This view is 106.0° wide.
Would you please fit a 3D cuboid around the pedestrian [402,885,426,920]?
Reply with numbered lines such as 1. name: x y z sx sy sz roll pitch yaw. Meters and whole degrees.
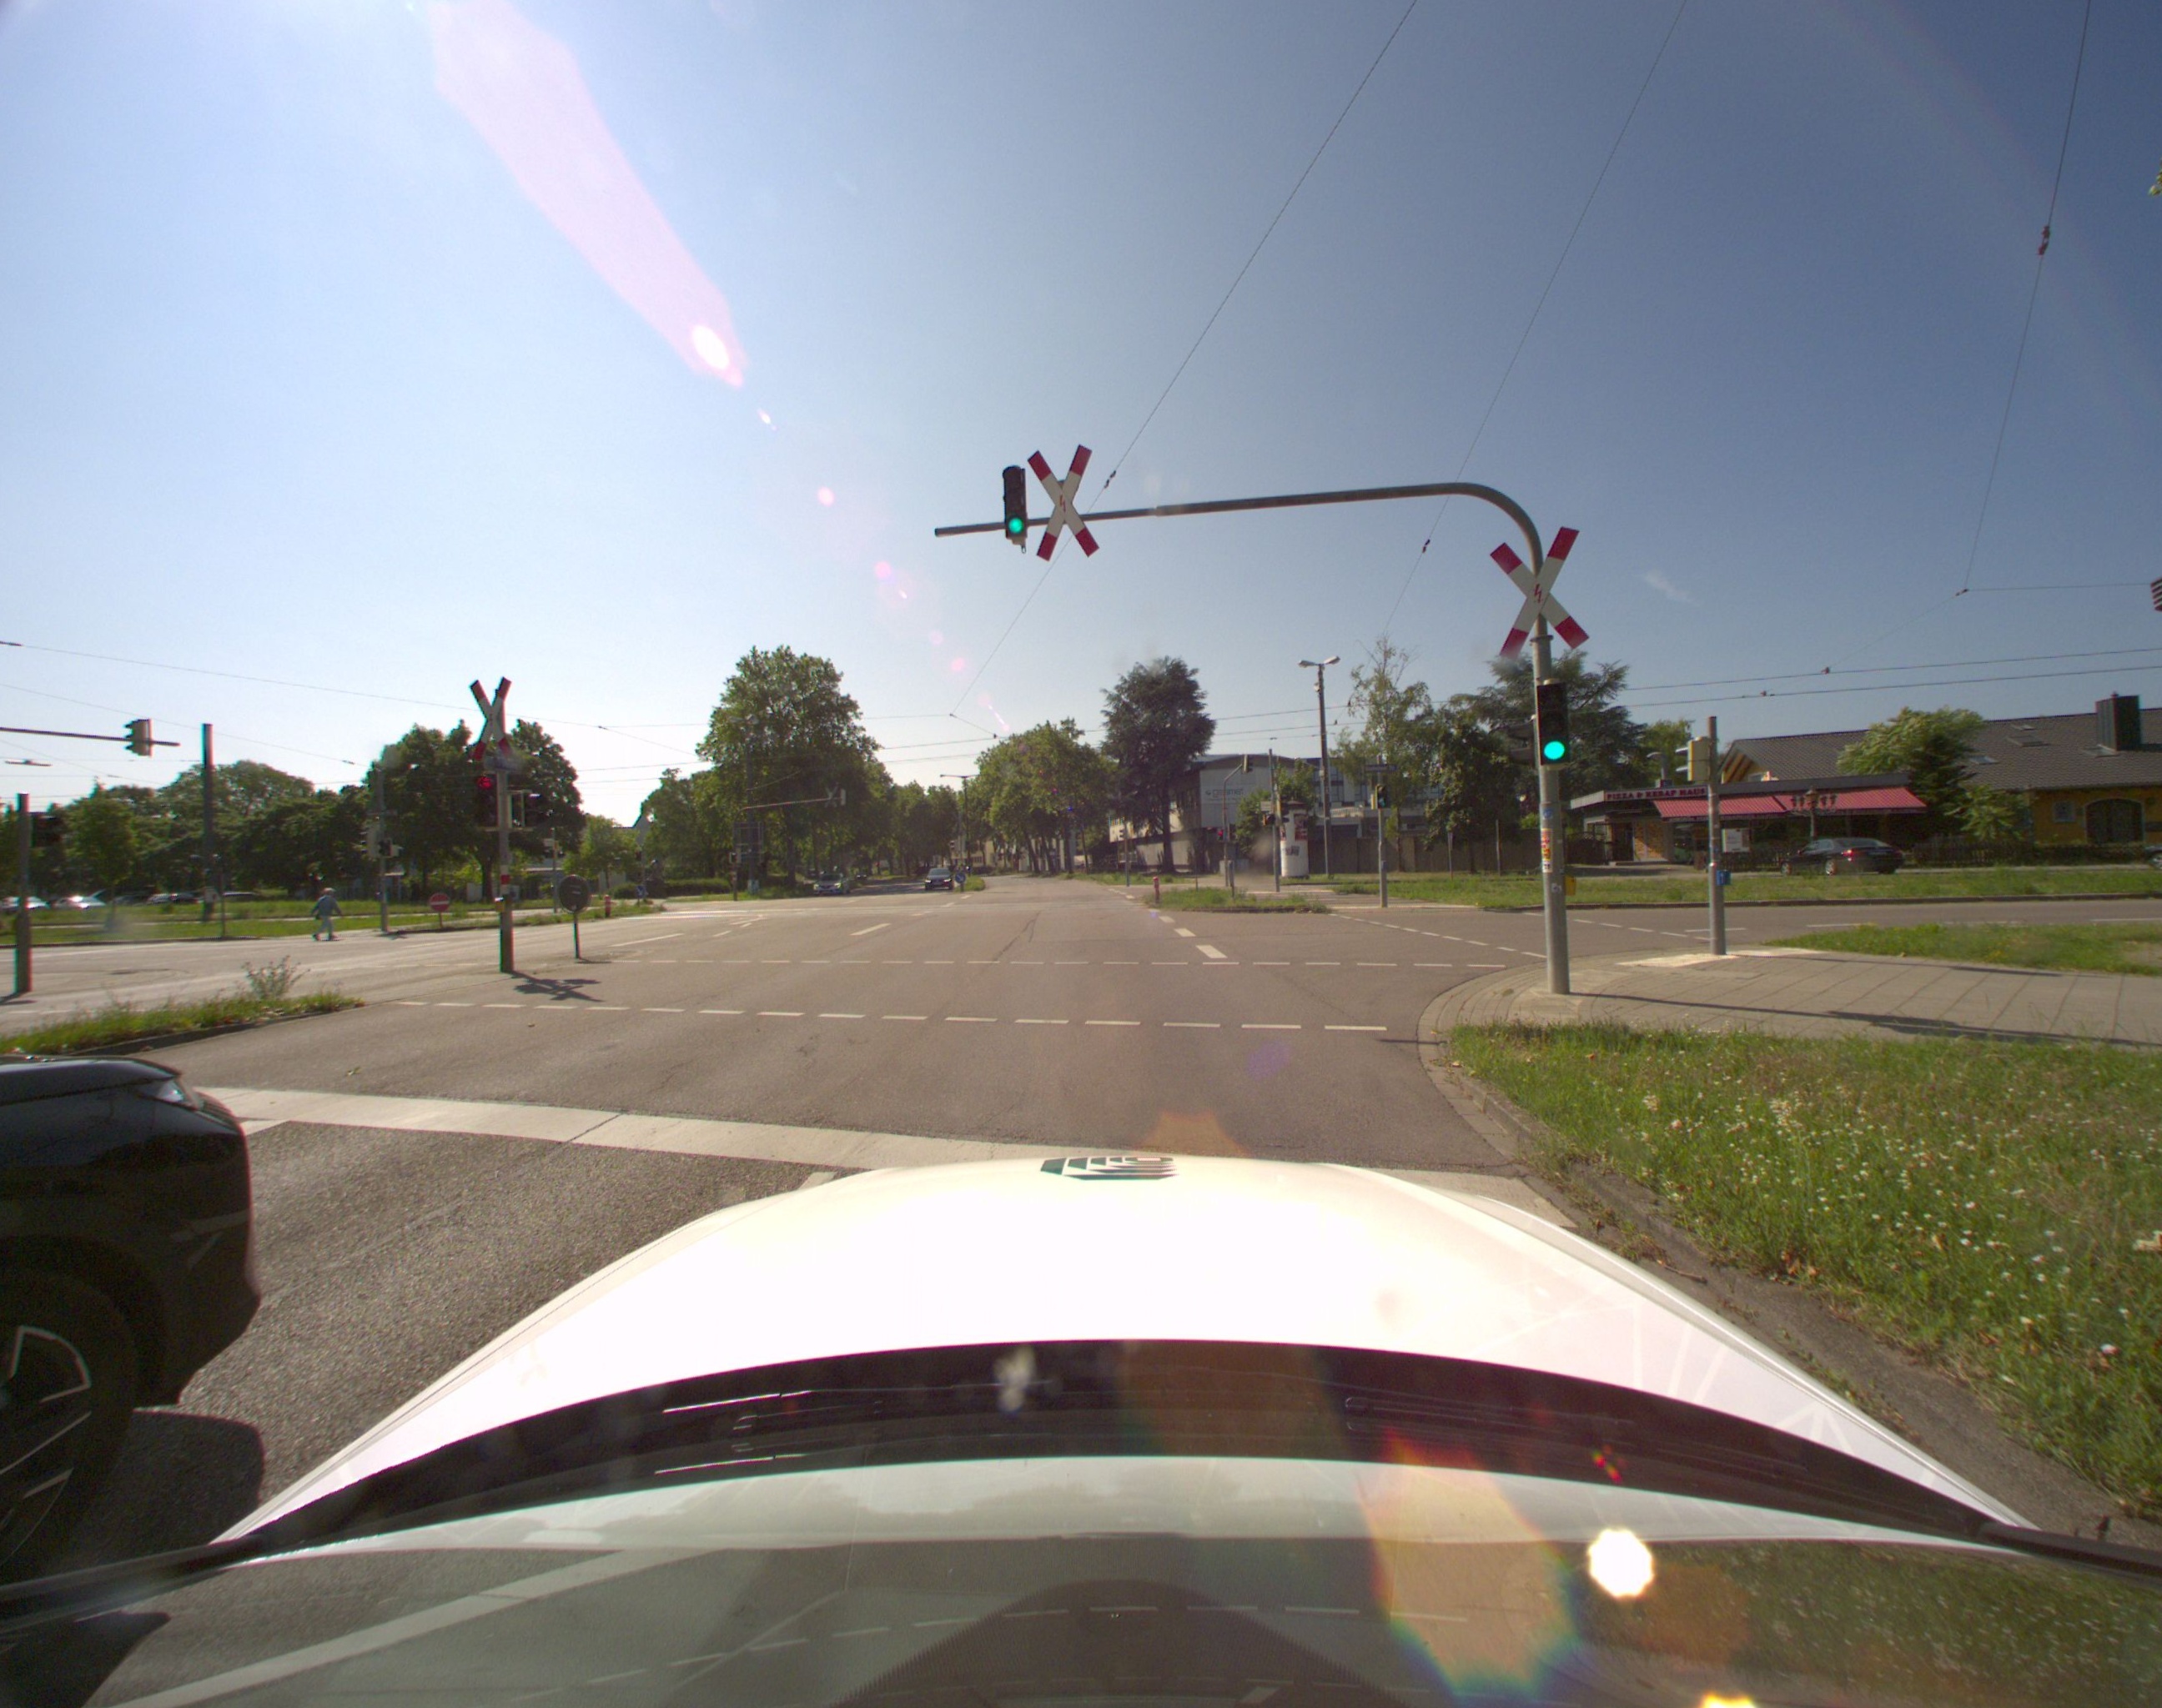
1. pedestrian: -39.787 2.881 48.604 0.793 2.013 0.709 -2 -1 -10

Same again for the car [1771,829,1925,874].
1. car: 28.950 -0.033 31.011 2.119 1.499 5.141 -2 -2 17

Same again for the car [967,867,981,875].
1. car: -19.635 3.100 149.281 1.712 1.487 4.075 -2 0 -18

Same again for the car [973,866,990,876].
1. car: -17.625 3.008 144.119 1.714 1.487 4.683 -3 0 -22

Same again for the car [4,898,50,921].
1. car: -73.173 3.839 56.528 3.299 1.446 1.357 -2 -1 27

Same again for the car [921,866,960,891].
1. car: -9.266 1.570 53.944 1.687 1.508 4.131 -2 -1 2

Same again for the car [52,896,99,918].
1. car: -72.148 3.778 58.430 3.299 1.446 1.457 -2 -1 27

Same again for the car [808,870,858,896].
1. car: -16.449 1.895 54.326 1.687 1.508 4.664 -2 -1 2

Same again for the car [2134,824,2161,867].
1. car: 38.438 -0.333 26.757 2.132 1.499 4.199 -1 -1 -5

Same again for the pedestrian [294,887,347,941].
1. pedestrian: -22.297 1.739 23.895 0.692 1.501 0.873 -2 -1 14

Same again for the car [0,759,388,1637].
1. car: -3.077 0.670 0.226 1.865 1.696 4.437 -1 0 2
